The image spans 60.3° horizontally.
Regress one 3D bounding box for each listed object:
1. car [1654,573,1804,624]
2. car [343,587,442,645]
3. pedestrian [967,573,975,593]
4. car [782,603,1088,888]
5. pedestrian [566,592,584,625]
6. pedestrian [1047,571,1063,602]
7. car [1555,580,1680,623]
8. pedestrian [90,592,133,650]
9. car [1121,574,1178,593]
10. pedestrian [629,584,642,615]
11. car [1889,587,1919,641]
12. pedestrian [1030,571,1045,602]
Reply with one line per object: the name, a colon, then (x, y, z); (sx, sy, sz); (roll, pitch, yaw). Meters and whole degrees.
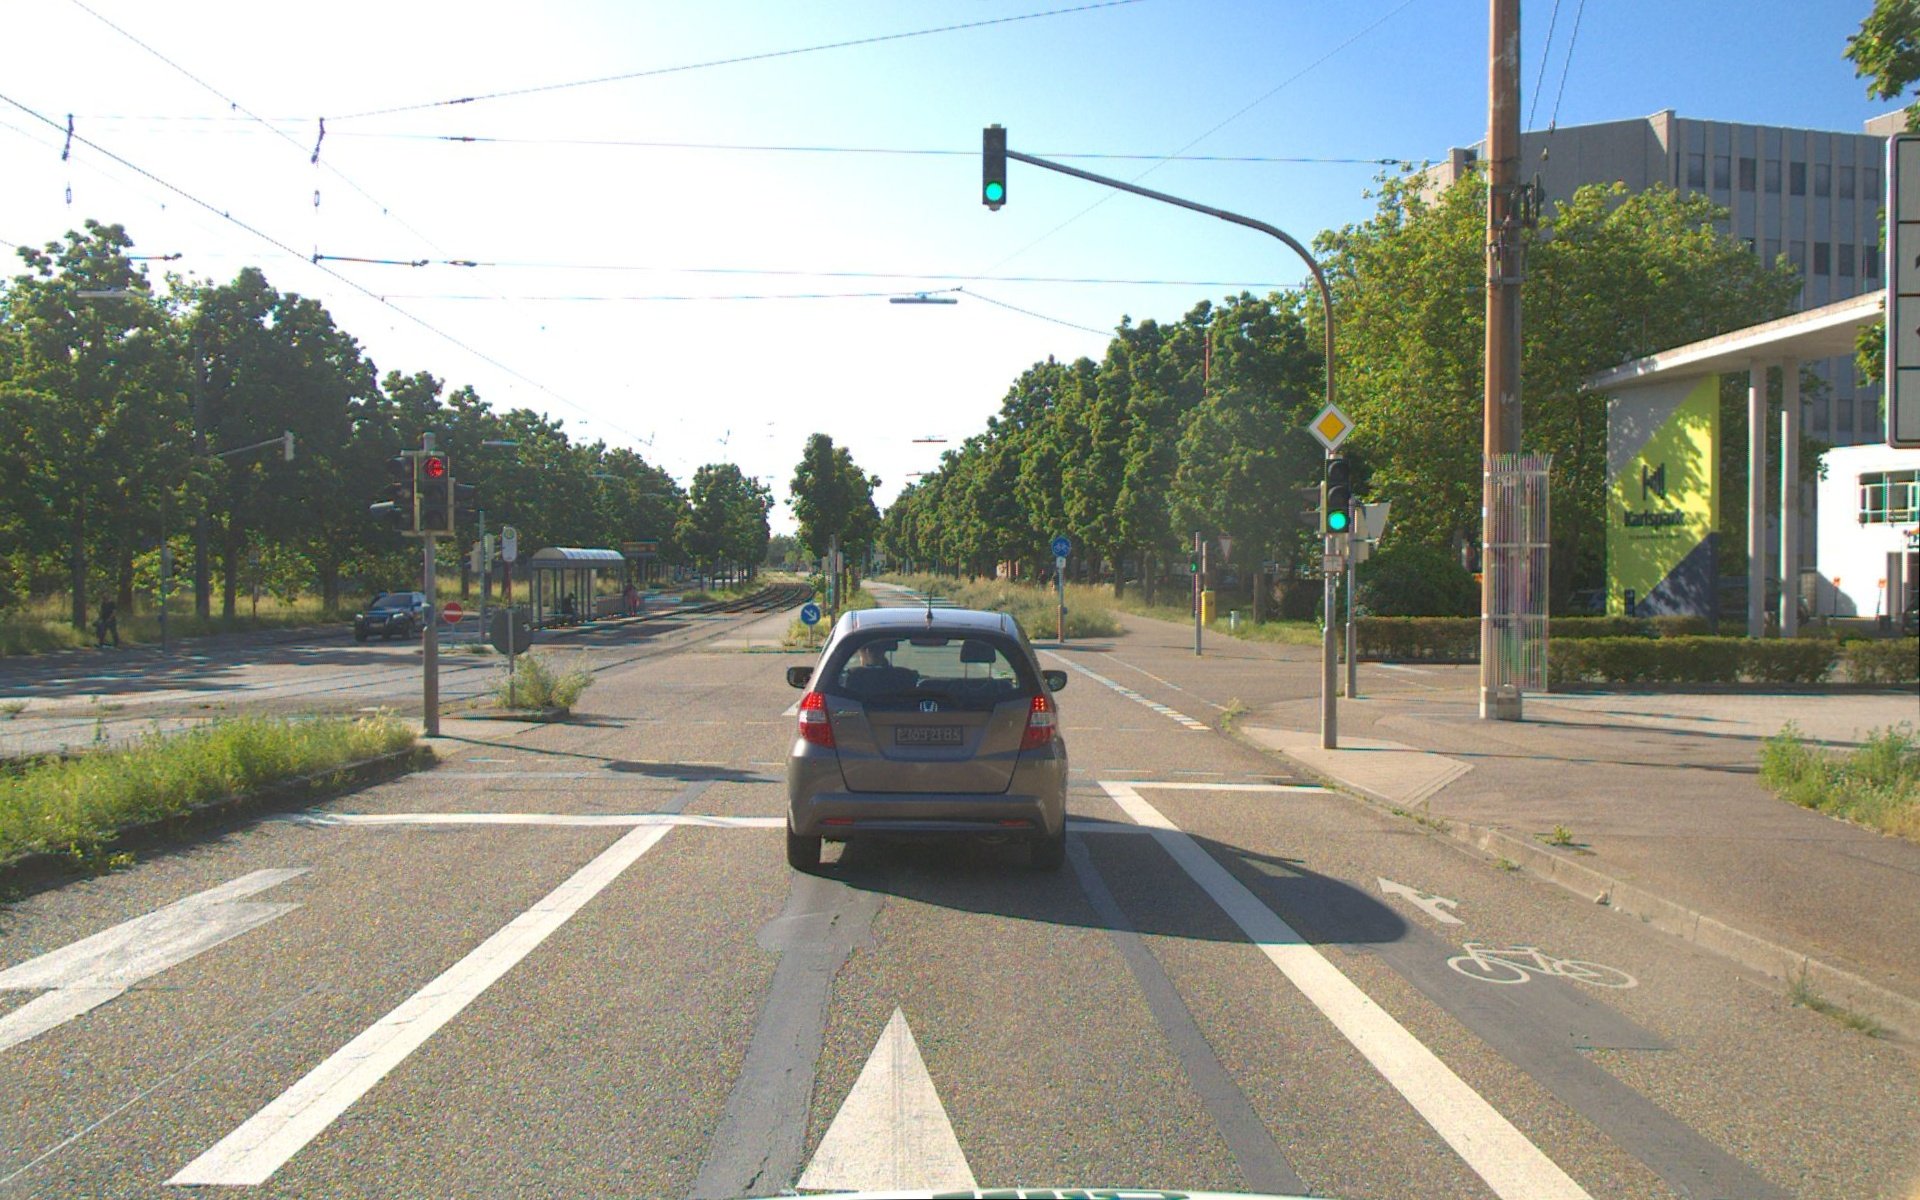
car: (28.013, -0.076, 60.269); (4.803, 1.788, 2.083); (0, 0, -16)
car: (-20.272, 0.529, 59.295); (2.052, 1.841, 4.790); (-2, 1, -3)
pedestrian: (0.986, -1.513, 146.075); (0.710, 1.720, 0.820); (0, 0, -3)
car: (-0.163, 0.813, 10.930); (1.666, 1.550, 3.708); (1, 0, -1)
pedestrian: (-15.081, 0.340, 64.814); (0.552, 1.279, 0.580); (-2, 0, -2)
pedestrian: (6.040, -0.855, 105.261); (0.864, 1.917, 0.875); (0, 1, -5)
car: (26.649, 0.054, 67.109); (4.371, 1.716, 1.892); (0, 0, -7)
pedestrian: (-26.546, 0.653, 51.773); (0.744, 1.764, 0.936); (0, 1, 27)
car: (16.518, -1.437, 144.324); (4.543, 1.583, 1.997); (0, 1, -7)
pedestrian: (-15.568, -0.029, 79.371); (0.533, 1.473, 0.559); (-1, 0, -1)
car: (30.643, 0.426, 50.237); (3.914, 1.606, 1.949); (0, 0, -10)
pedestrian: (4.943, -0.869, 105.215); (0.864, 1.917, 0.875); (0, 1, -5)
